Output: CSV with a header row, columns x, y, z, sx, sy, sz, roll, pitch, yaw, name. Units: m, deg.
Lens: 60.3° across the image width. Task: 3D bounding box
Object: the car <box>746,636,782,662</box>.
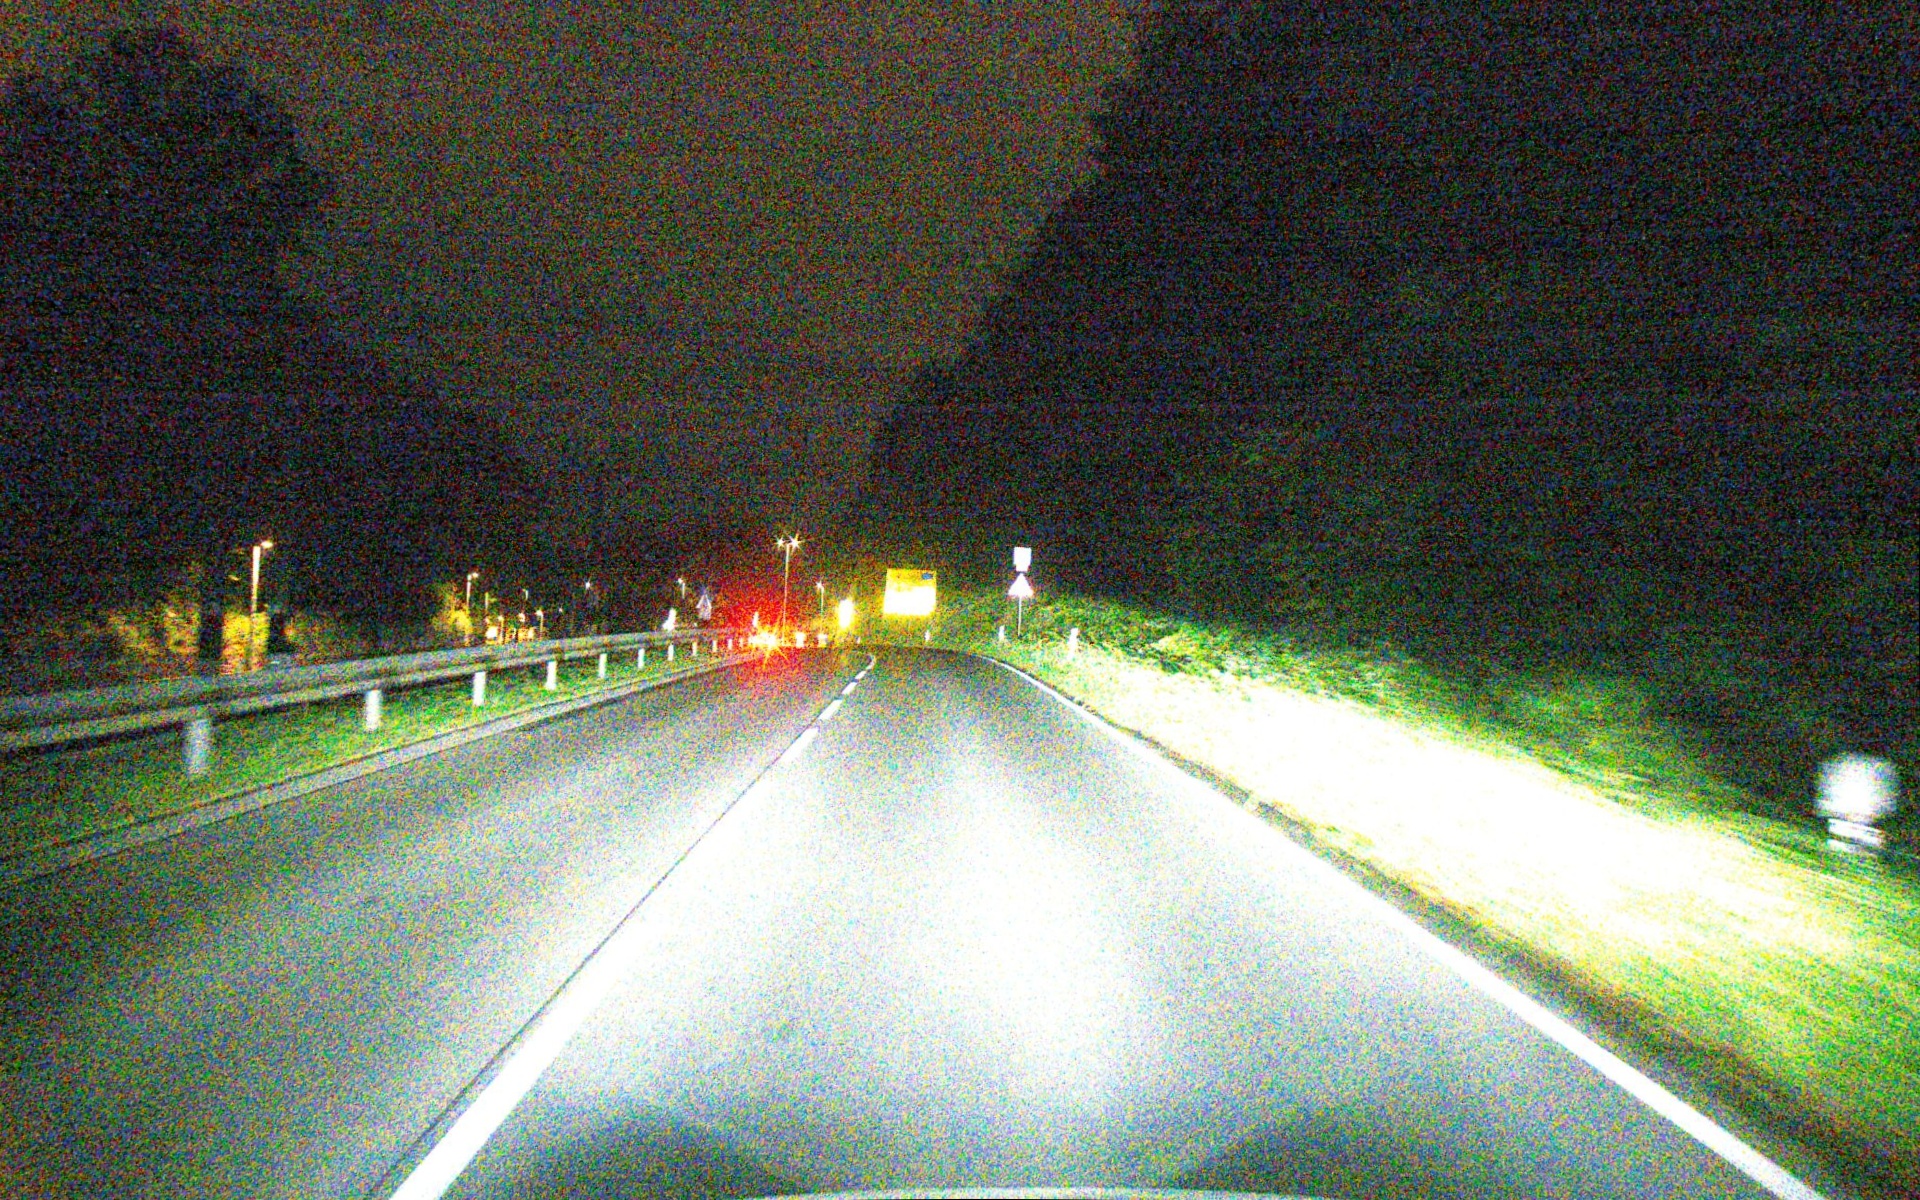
x,y,z,sx,sy,sz,roll,pitch,yaw,name
-16.835,4.184,141.649,1.966,2.049,3.973,5,-3,-22,car
